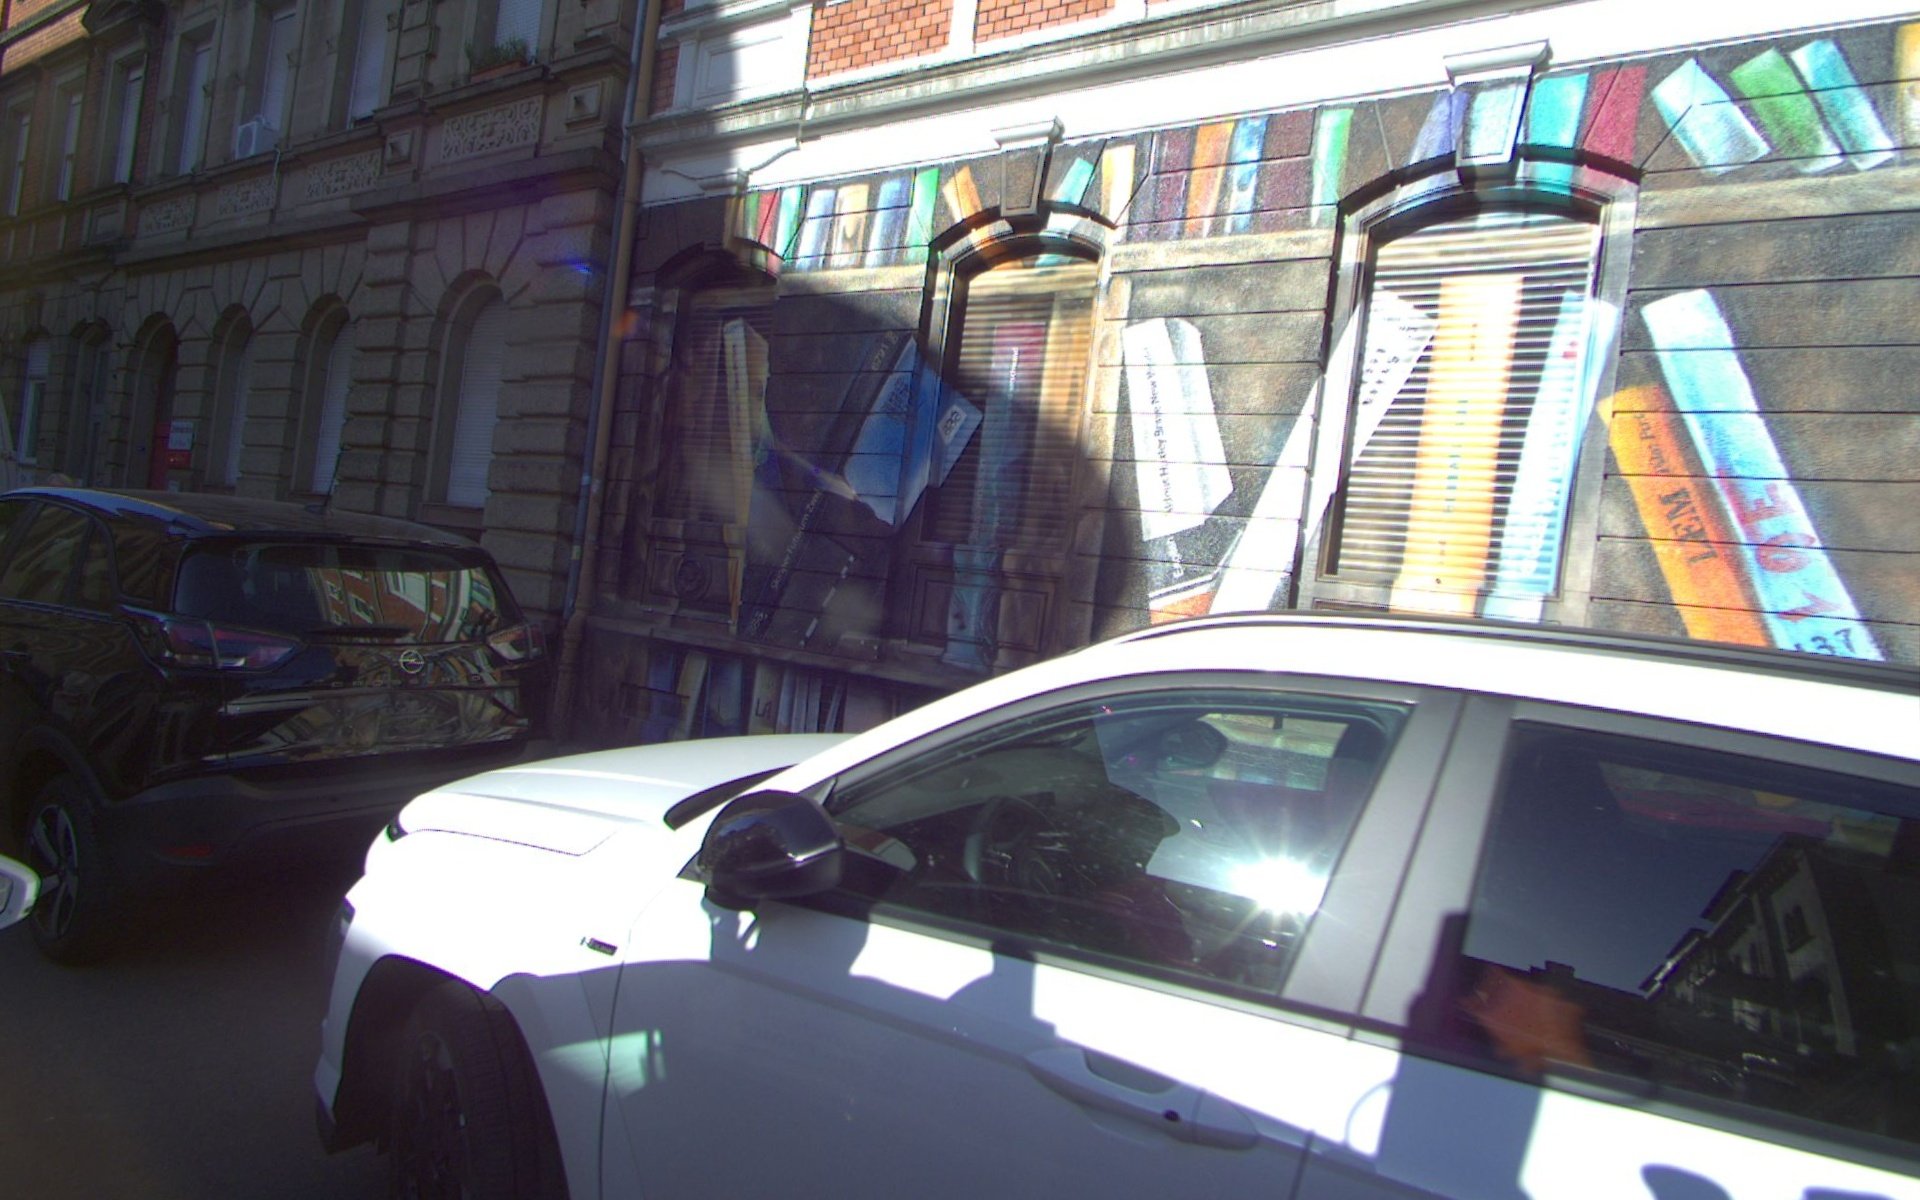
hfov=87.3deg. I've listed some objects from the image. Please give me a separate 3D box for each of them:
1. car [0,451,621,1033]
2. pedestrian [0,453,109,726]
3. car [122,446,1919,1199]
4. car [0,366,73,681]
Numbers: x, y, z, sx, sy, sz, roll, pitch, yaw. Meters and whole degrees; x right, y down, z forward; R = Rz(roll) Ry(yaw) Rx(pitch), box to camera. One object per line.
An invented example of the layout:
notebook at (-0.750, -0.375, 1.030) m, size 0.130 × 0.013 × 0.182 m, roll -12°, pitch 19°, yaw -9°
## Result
car at (-3.626, 0.310, 4.638) m, size 3.859 × 1.662 × 1.690 m, roll 7°, pitch -1°, yaw 32°
pedestrian at (-6.575, -0.076, 7.081) m, size 0.637 × 1.792 × 0.672 m, roll 9°, pitch -2°, yaw -37°
car at (0.418, 0.783, 1.962) m, size 4.145 × 1.708 × 1.812 m, roll 6°, pitch -3°, yaw 32°
car at (-10.907, -0.996, 9.451) m, size 5.790 × 2.641 × 2.072 m, roll 7°, pitch -1°, yaw 32°
